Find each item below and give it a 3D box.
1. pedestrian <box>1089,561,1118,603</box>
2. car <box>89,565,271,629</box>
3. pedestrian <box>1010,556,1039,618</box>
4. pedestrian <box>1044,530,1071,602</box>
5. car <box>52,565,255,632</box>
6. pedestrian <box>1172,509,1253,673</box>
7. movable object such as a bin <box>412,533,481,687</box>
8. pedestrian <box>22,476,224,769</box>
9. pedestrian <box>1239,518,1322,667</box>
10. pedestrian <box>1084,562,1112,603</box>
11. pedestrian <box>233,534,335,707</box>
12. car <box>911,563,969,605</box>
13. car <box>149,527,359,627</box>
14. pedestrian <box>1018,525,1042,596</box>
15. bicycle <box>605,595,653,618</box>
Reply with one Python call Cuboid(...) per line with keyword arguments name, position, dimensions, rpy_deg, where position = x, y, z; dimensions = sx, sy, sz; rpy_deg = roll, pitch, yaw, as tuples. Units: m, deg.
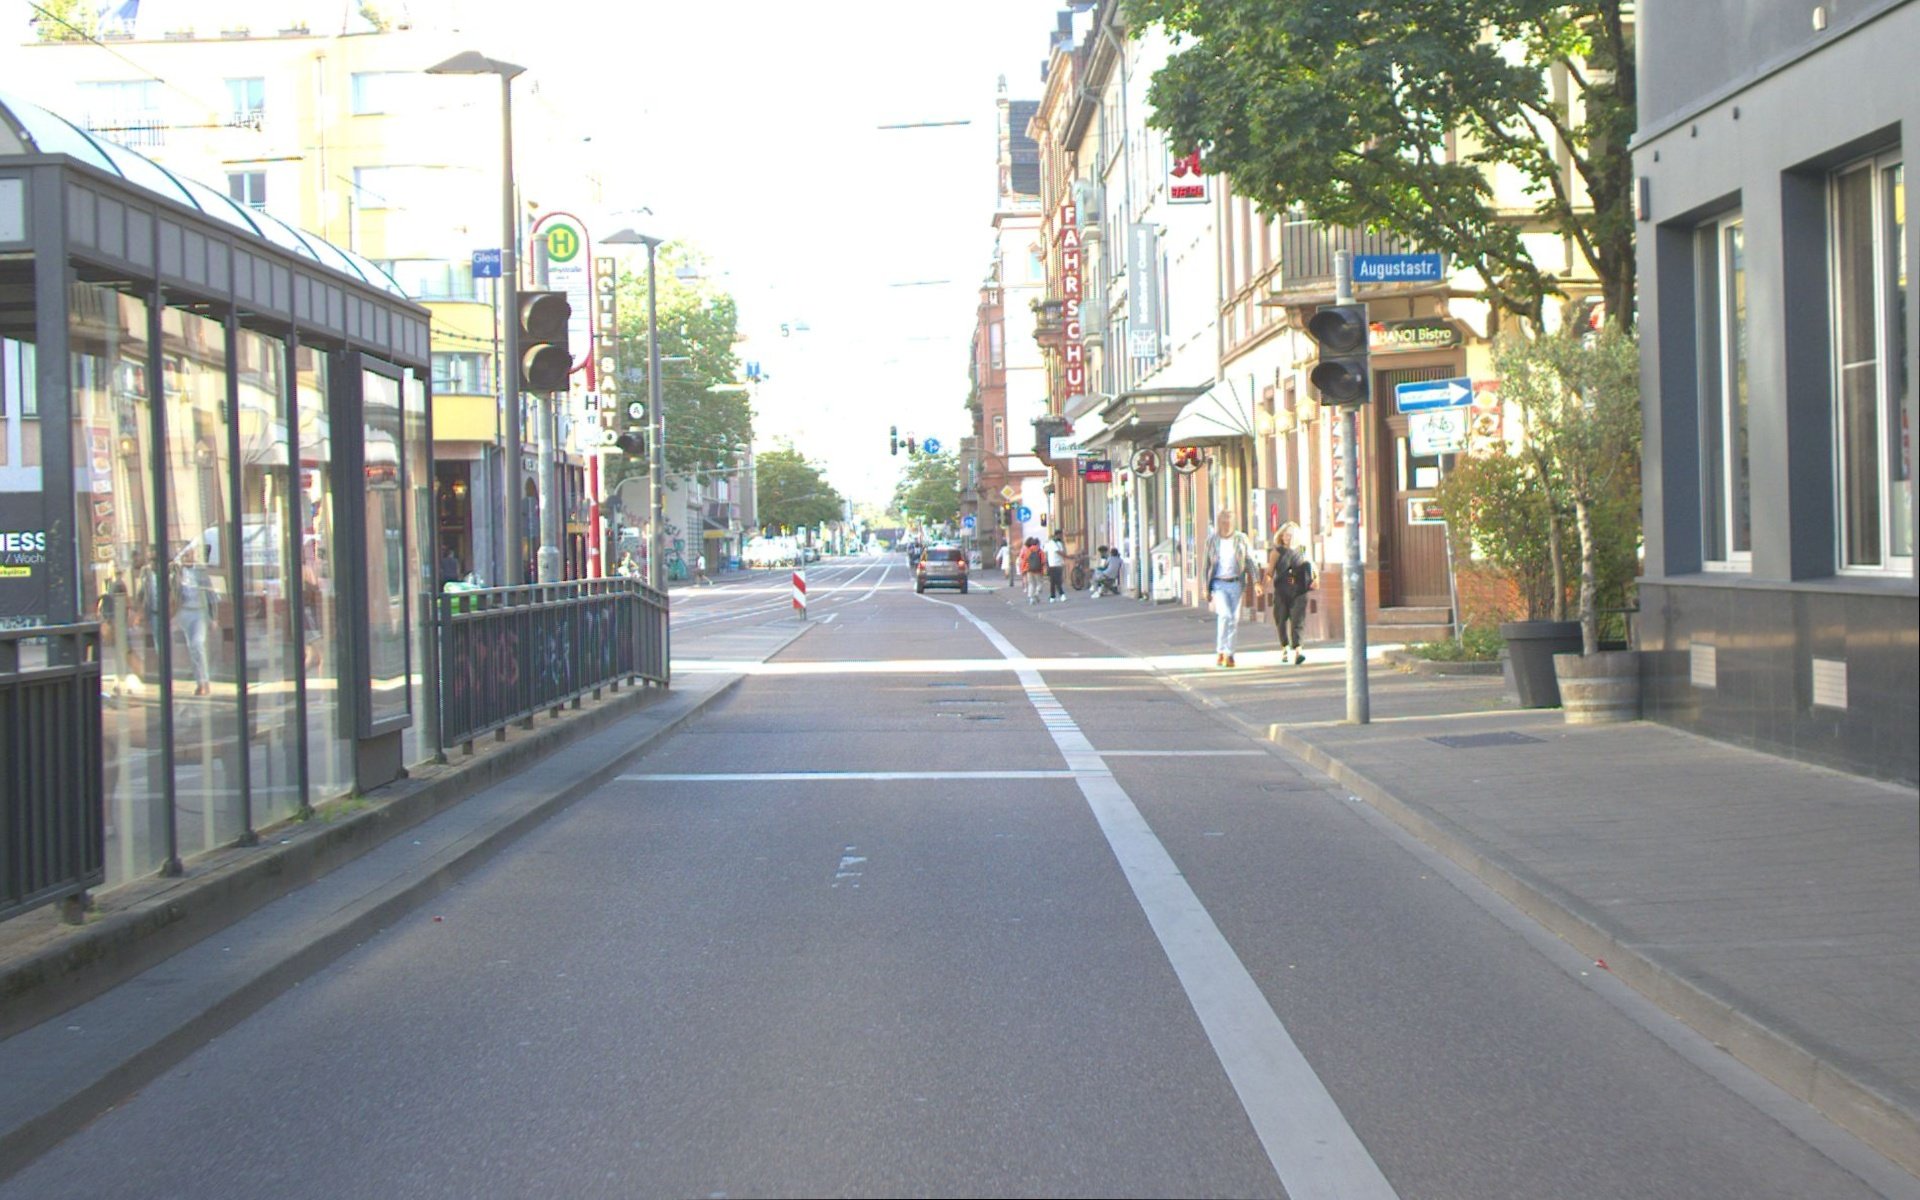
Cuboid(name="pedestrian", position=(3.573, -0.442, 85.395), dimensions=(0.690, 1.040, 0.680), rpy_deg=(0, 0, 4))
Cuboid(name="car", position=(-18.813, -0.068, 83.010), dimensions=(3.987, 1.505, 1.800), rpy_deg=(0, 0, 0))
Cuboid(name="pedestrian", position=(1.991, -0.405, 106.061), dimensions=(0.843, 1.911, 0.662), rpy_deg=(0, 0, -2))
Cuboid(name="pedestrian", position=(2.459, -0.850, 86.360), dimensions=(0.648, 1.790, 0.561), rpy_deg=(0, 0, 4))
Cuboid(name="car", position=(-18.798, -0.039, 80.263), dimensions=(4.320, 1.505, 1.800), rpy_deg=(0, 0, 0))
Cuboid(name="pedestrian", position=(2.794, -0.106, 38.110), dimensions=(0.713, 1.768, 0.773), rpy_deg=(-3, 1, -4))
Cuboid(name="movable object such as a bin", position=(-3.186, 0.058, 21.338), dimensions=(0.352, 0.941, 0.530), rpy_deg=(0, 0, -2))
Cuboid(name="pedestrian", position=(-3.422, 0.087, 14.084), dimensions=(0.685, 1.172, 0.537), rpy_deg=(0, 0, 0))
Cuboid(name="pedestrian", position=(3.539, -0.089, 38.021), dimensions=(0.713, 1.597, 0.773), rpy_deg=(-3, 1, -4))
Cuboid(name="pedestrian", position=(3.461, -0.441, 86.359), dimensions=(0.690, 1.040, 0.680), rpy_deg=(0, 0, 4))
Cuboid(name="pedestrian", position=(-6.874, 0.199, 34.998), dimensions=(0.869, 1.708, 0.788), rpy_deg=(2, 1, -3))
Cuboid(name="car", position=(-0.723, -0.562, 121.103), dimensions=(1.993, 1.444, 4.000), rpy_deg=(0, 0, -1))
Cuboid(name="car", position=(-18.595, -0.617, 90.699), dimensions=(5.105, 2.567, 2.128), rpy_deg=(0, 0, 0))
Cuboid(name="pedestrian", position=(1.765, -0.989, 86.566), dimensions=(0.560, 1.790, 0.650), rpy_deg=(0, 0, 6))
Cuboid(name="bicycle", position=(-14.458, 0.274, 150.194), dimensions=(1.935, 1.000, 0.753), rpy_deg=(-1, 1, 17))
